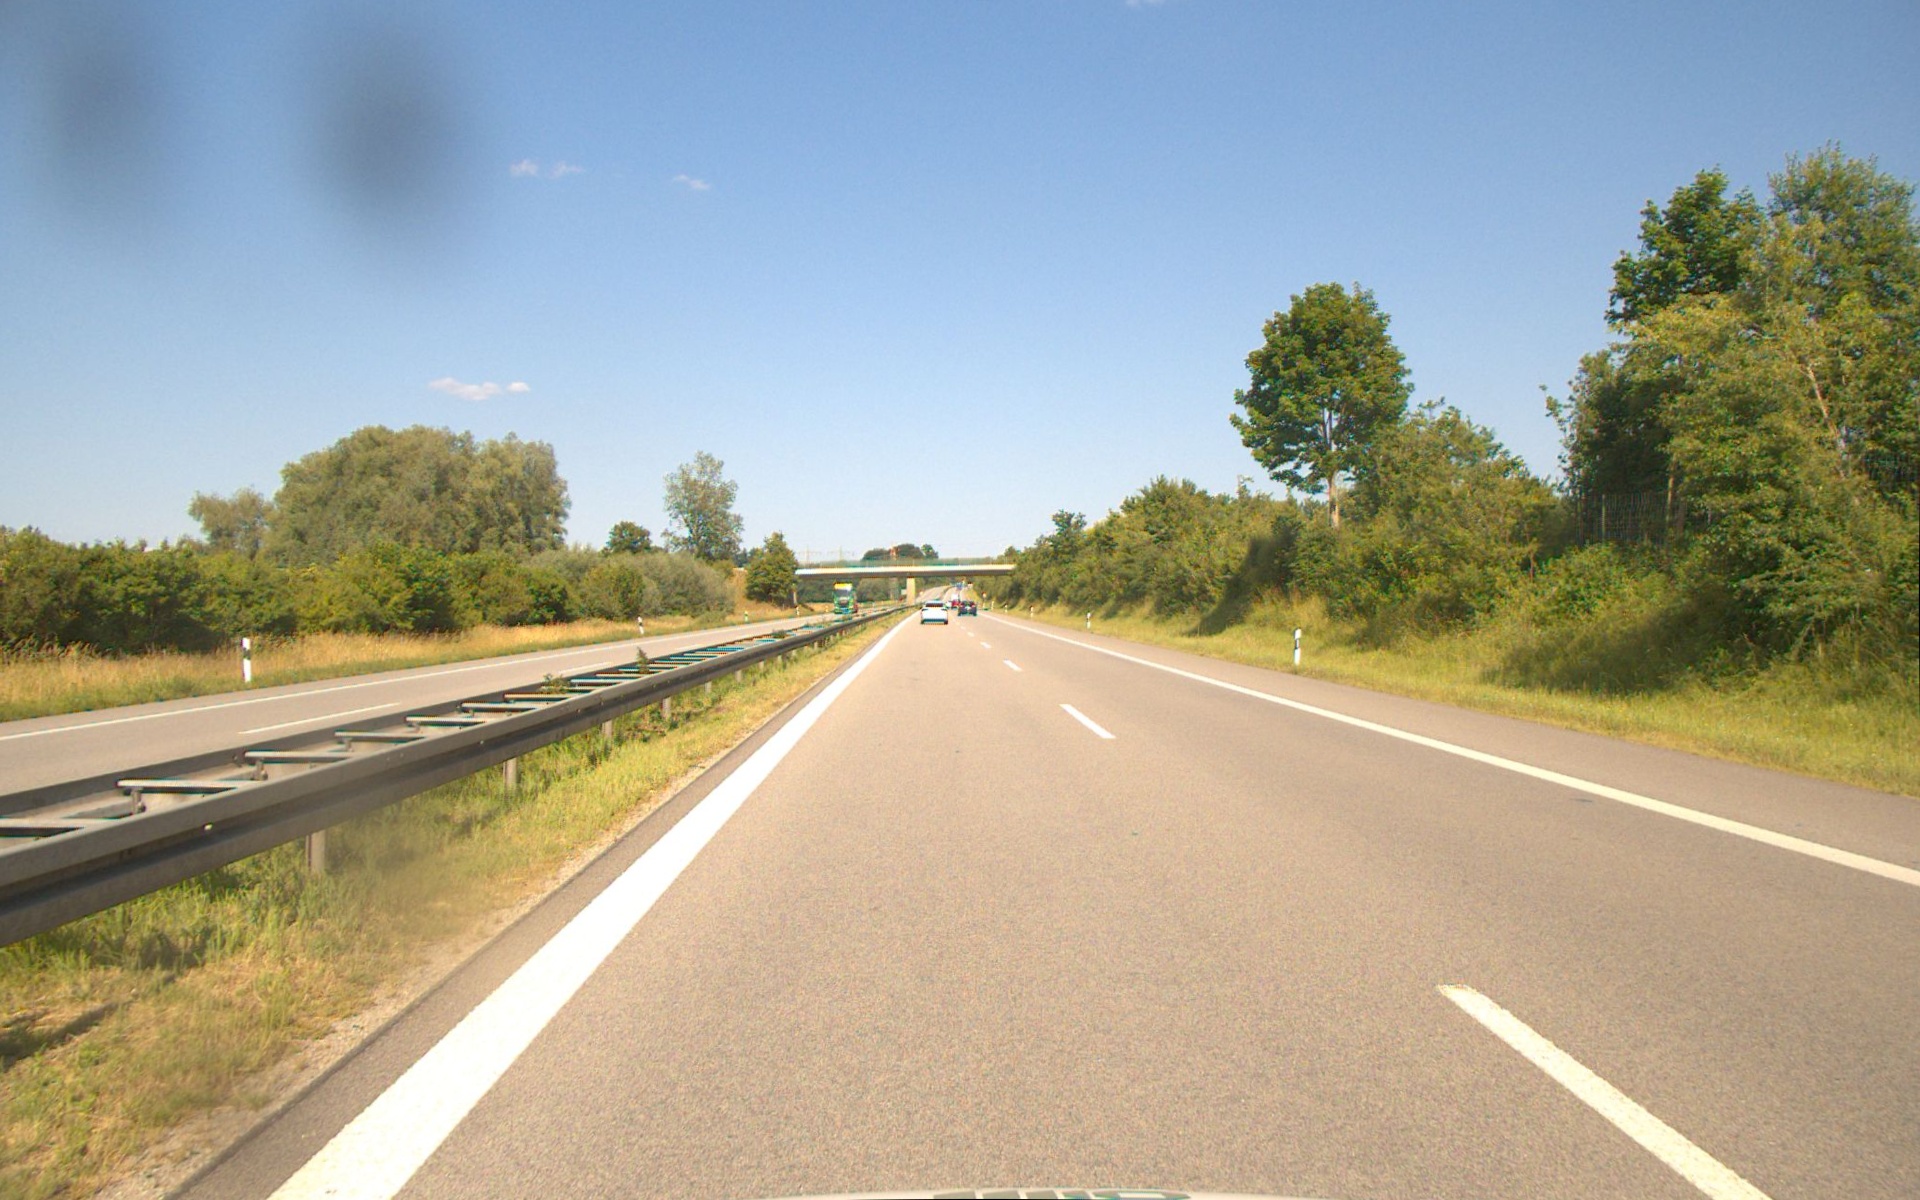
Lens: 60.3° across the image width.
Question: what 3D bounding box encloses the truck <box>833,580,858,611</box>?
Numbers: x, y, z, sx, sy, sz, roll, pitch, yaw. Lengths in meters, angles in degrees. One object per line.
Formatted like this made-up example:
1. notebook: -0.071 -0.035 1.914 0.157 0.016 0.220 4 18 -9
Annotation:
1. truck: -14.596 -0.569 210.719 2.895 3.796 5.567 -1 0 -2

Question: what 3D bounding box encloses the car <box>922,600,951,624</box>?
1. car: -1.501 0.754 105.791 1.805 1.440 3.999 1 0 -1

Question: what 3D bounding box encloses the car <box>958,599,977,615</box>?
1. car: 0.721 0.712 162.846 1.805 1.546 3.999 1 0 -1
